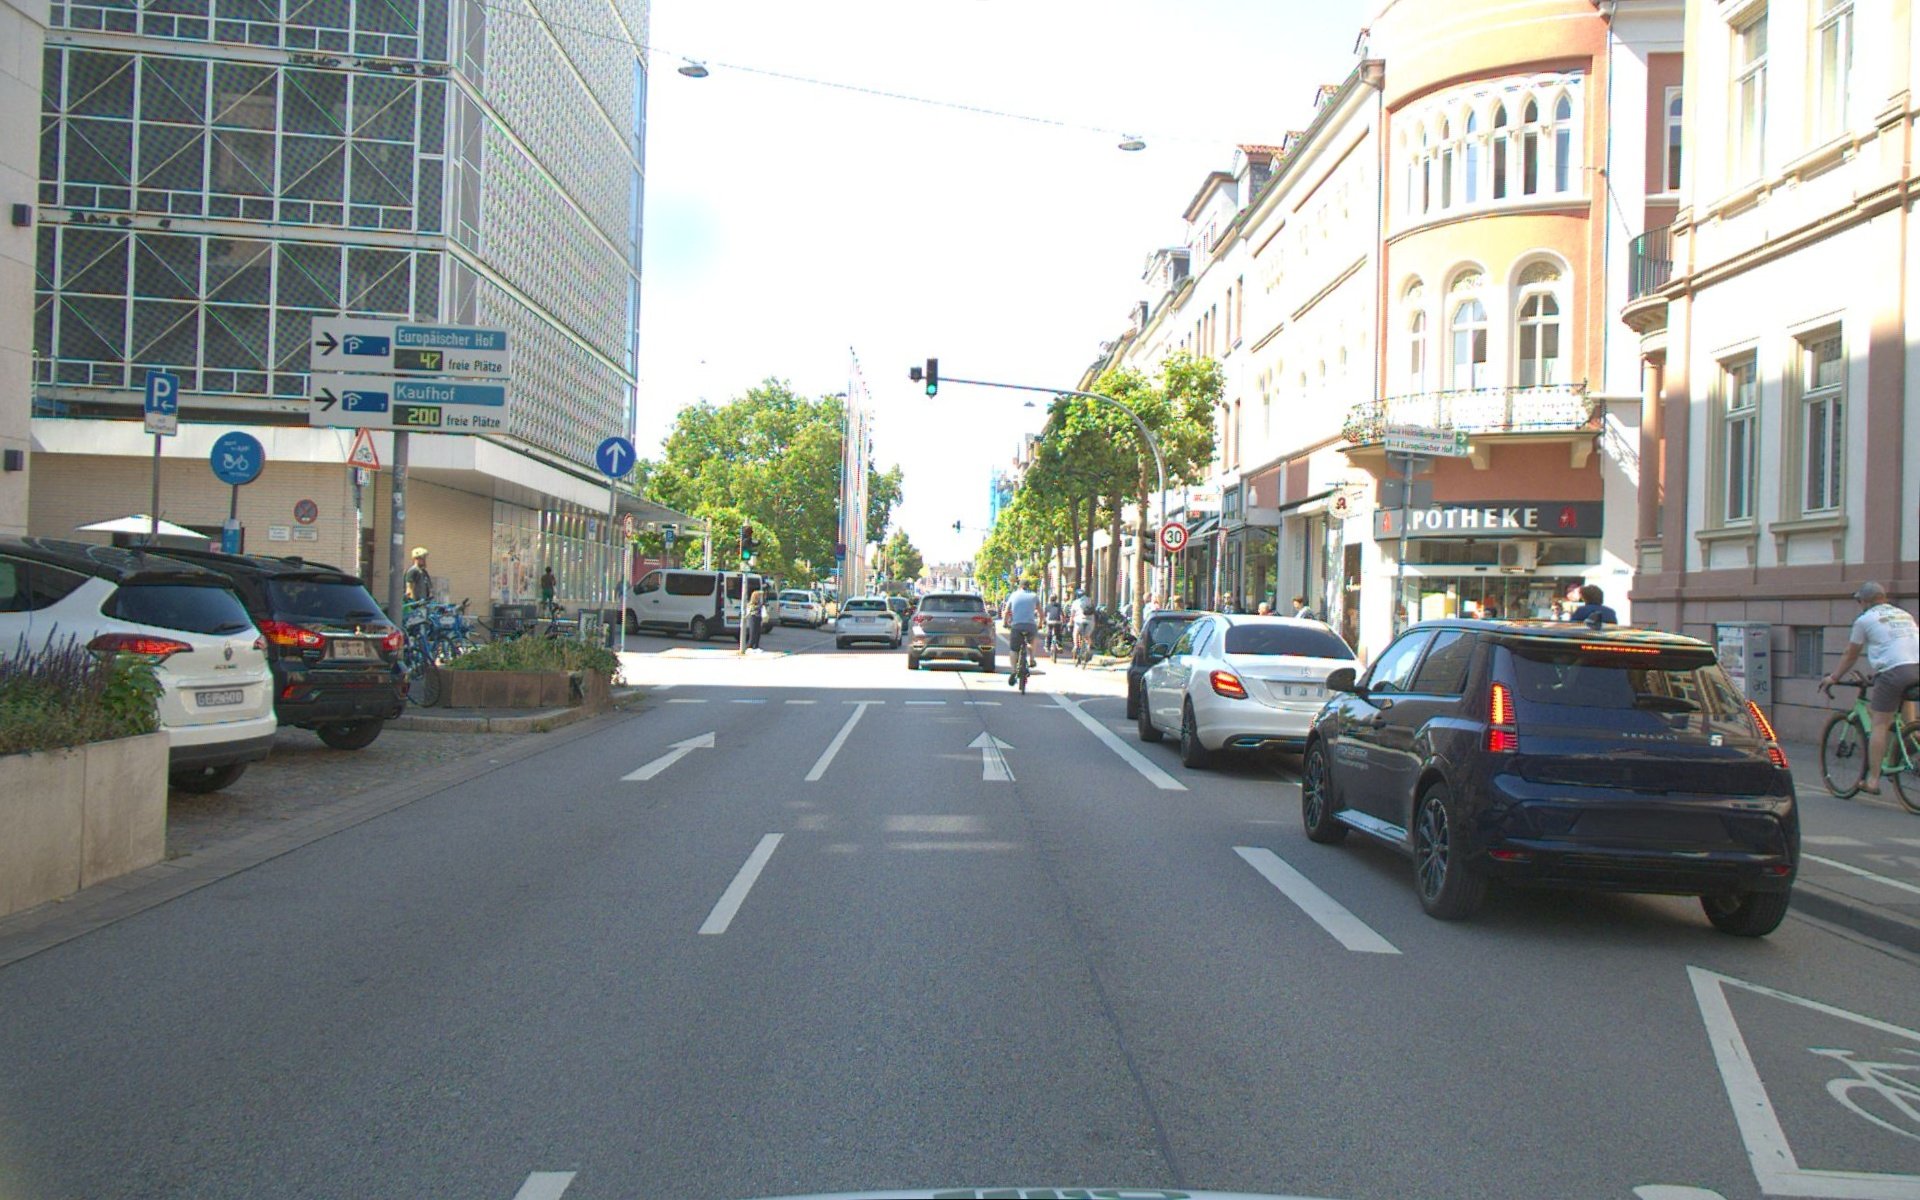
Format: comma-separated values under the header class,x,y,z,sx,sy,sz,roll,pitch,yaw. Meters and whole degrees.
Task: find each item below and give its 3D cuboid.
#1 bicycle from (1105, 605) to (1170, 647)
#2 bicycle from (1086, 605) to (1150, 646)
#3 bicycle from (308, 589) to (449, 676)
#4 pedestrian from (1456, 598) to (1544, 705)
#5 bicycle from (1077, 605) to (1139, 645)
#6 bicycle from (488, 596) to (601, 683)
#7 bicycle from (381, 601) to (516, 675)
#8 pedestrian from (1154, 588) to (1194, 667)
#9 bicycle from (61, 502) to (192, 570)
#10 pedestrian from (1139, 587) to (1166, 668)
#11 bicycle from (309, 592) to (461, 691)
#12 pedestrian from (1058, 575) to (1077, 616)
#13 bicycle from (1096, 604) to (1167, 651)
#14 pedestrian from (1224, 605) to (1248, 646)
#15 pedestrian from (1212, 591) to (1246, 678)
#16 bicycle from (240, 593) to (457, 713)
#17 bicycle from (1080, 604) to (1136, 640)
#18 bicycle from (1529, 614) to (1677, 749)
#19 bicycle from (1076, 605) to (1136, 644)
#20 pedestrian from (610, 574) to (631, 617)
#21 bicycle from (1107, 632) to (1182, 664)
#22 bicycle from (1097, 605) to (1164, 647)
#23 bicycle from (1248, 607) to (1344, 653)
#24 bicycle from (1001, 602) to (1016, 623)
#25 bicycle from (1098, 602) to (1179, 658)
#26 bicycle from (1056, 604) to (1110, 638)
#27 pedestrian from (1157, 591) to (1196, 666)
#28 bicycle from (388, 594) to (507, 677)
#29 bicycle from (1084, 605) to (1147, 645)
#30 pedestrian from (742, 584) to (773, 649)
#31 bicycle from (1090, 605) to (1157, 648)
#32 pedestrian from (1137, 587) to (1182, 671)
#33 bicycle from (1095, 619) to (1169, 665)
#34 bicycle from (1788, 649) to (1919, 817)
class,x,y,z,sx,sy,sz,roll,pitch,yaw
bicycle,5.100,0.746,47.587,1.802,1.146,0.666,1,-1,1
bicycle,4.603,0.742,48.186,1.802,1.146,0.643,1,-1,1
bicycle,-8.337,0.456,23.698,2.017,1.146,0.646,2,0,26
pedestrian,8.481,0.813,26.008,0.886,1.640,0.971,1,-3,-19
bicycle,4.482,0.751,50.044,1.802,1.146,0.666,1,-1,1
bicycle,-6.145,0.567,24.408,2.030,1.193,0.601,2,-1,45
bicycle,-8.427,0.614,27.289,1.944,1.146,0.800,2,1,6
pedestrian,5.104,0.641,39.433,0.772,1.826,0.641,3,0,-3
bicycle,-15.992,-1.224,31.802,2.175,1.289,0.731,-1,1,-24
pedestrian,4.426,0.635,38.075,0.443,1.826,0.607,3,0,-3
bicycle,-7.571,0.531,21.751,2.017,1.146,0.561,4,1,24
pedestrian,4.718,-0.212,72.560,0.626,1.718,0.843,4,0,-3
bicycle,4.613,0.743,44.529,1.801,1.146,0.346,4,1,15
pedestrian,8.654,0.791,51.922,0.626,1.275,0.608,0,-1,-3
pedestrian,5.959,0.753,36.608,0.625,1.875,0.615,3,0,11
bicycle,-6.557,0.563,17.781,2.097,1.146,0.485,3,1,0
bicycle,4.899,0.735,54.725,1.802,1.147,0.448,1,-1,2
bicycle,7.041,0.855,18.243,0.717,1.291,2.282,2,1,1
bicycle,4.470,0.753,50.737,1.802,1.147,0.530,1,-1,1
pedestrian,-12.652,-0.176,61.705,0.665,1.586,0.640,1,0,-6
bicycle,4.775,1.259,42.928,1.124,0.441,1.841,-10,-4,-26
bicycle,4.790,0.734,46.613,1.802,1.146,0.666,1,-1,1
bicycle,6.596,0.591,32.484,1.784,0.859,0.501,1,0,0
bicycle,2.422,0.612,82.184,0.634,1.015,2.030,1,0,-1
bicycle,4.412,0.733,40.995,1.822,1.209,0.713,6,3,38
bicycle,4.373,0.759,58.815,1.802,1.112,0.564,3,-1,-1
pedestrian,5.060,0.656,38.689,0.771,1.720,0.641,2,0,-3
bicycle,-7.716,0.519,24.850,2.023,1.189,0.603,1,-1,36
bicycle,4.613,0.734,49.233,1.802,1.146,0.666,1,-1,1
pedestrian,-5.050,0.402,41.250,0.628,1.586,0.679,3,0,-12
bicycle,4.529,0.725,45.837,1.801,1.146,0.667,1,-1,6
pedestrian,4.308,0.634,35.762,0.627,1.738,0.789,-7,-2,-5
bicycle,4.543,1.109,43.727,1.814,0.401,1.024,10,-36,3
bicycle,7.424,1.016,13.264,0.559,1.146,2.078,0,1,1
